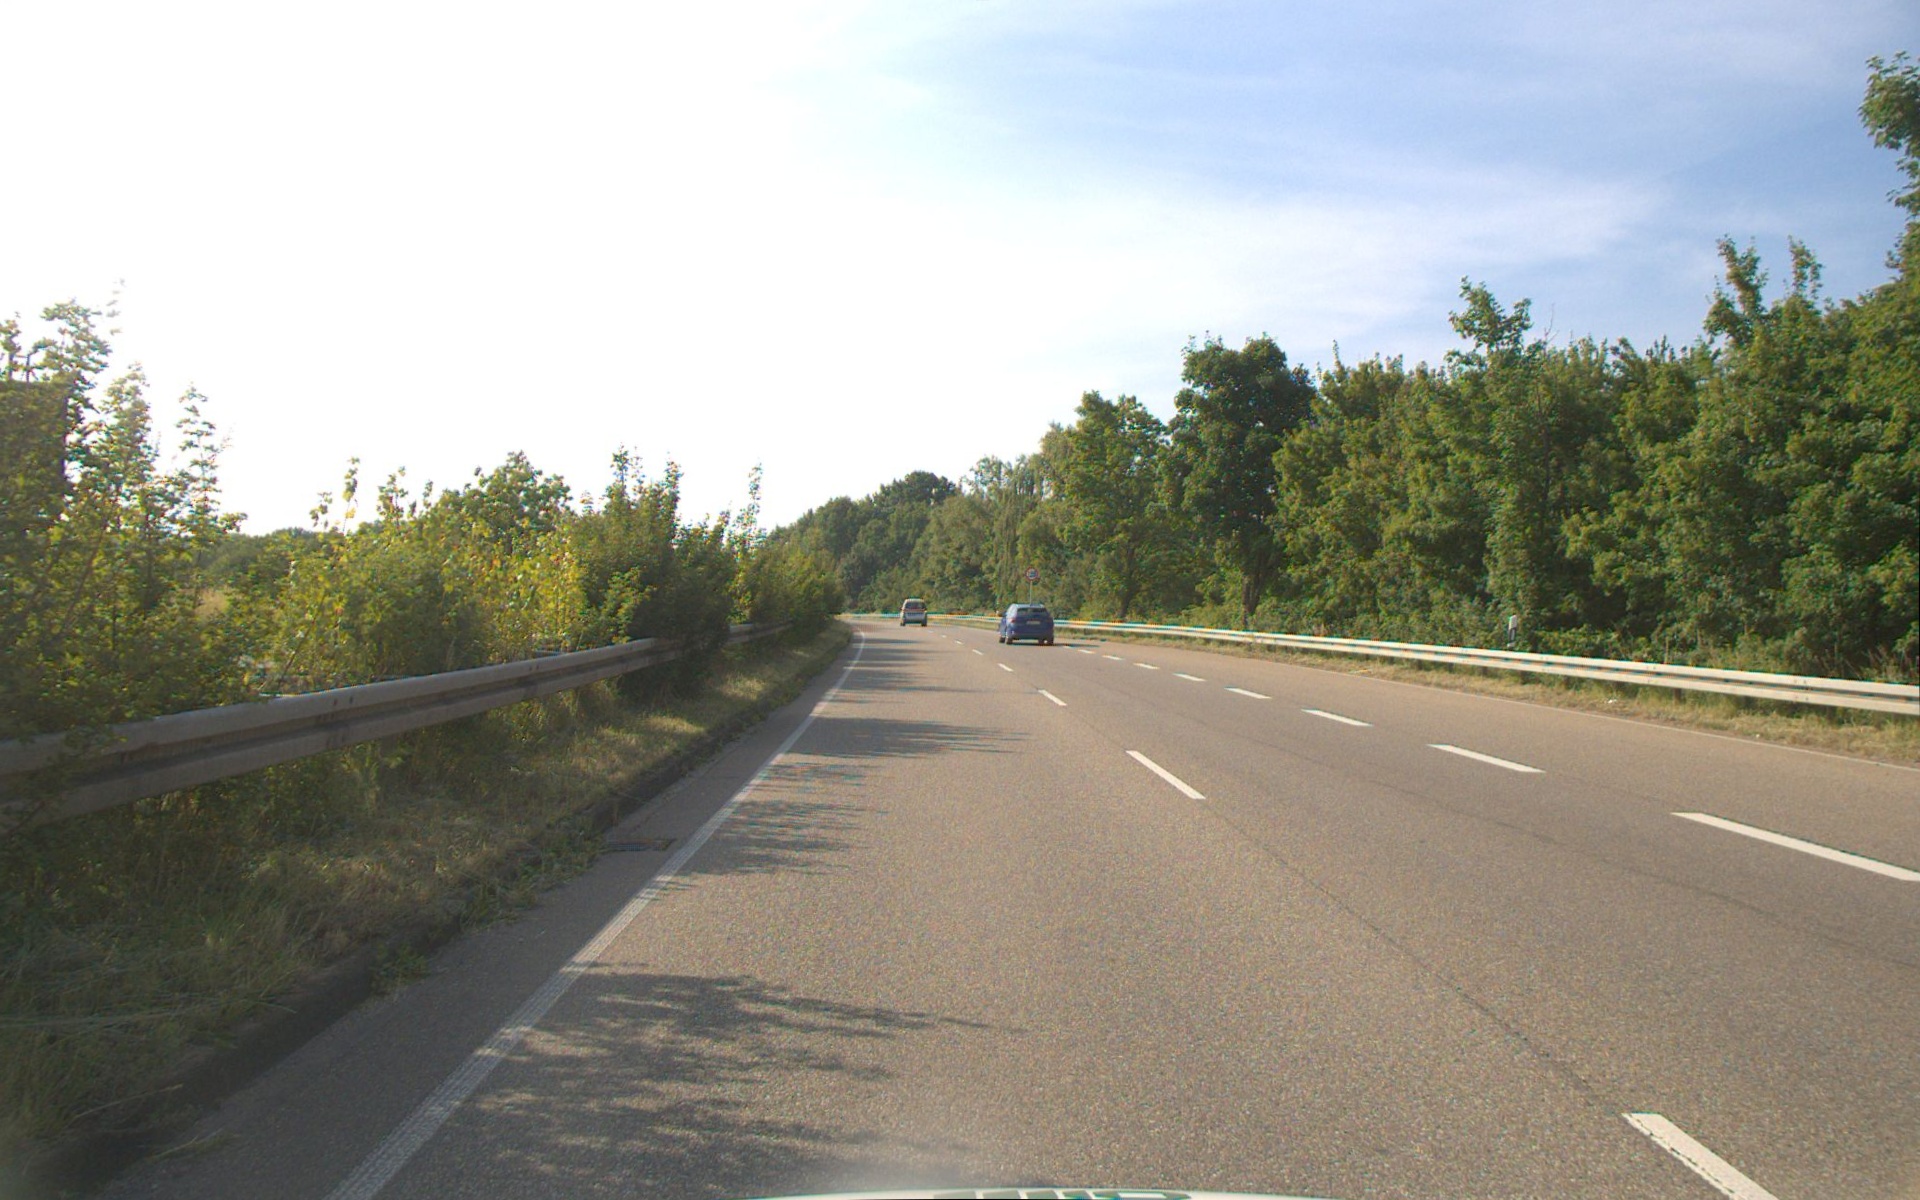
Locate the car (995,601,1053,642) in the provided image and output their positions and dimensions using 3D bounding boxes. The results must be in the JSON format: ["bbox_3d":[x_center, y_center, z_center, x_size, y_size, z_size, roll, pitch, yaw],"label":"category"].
[{"bbox_3d":[2.340,0.794,61.256,1.744,1.477,3.997,0,-1,-4],"label":"car"}]

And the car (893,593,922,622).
[{"bbox_3d":[-3.608,0.494,113.045,1.731,1.914,3.996,1,0,-5],"label":"car"}]
